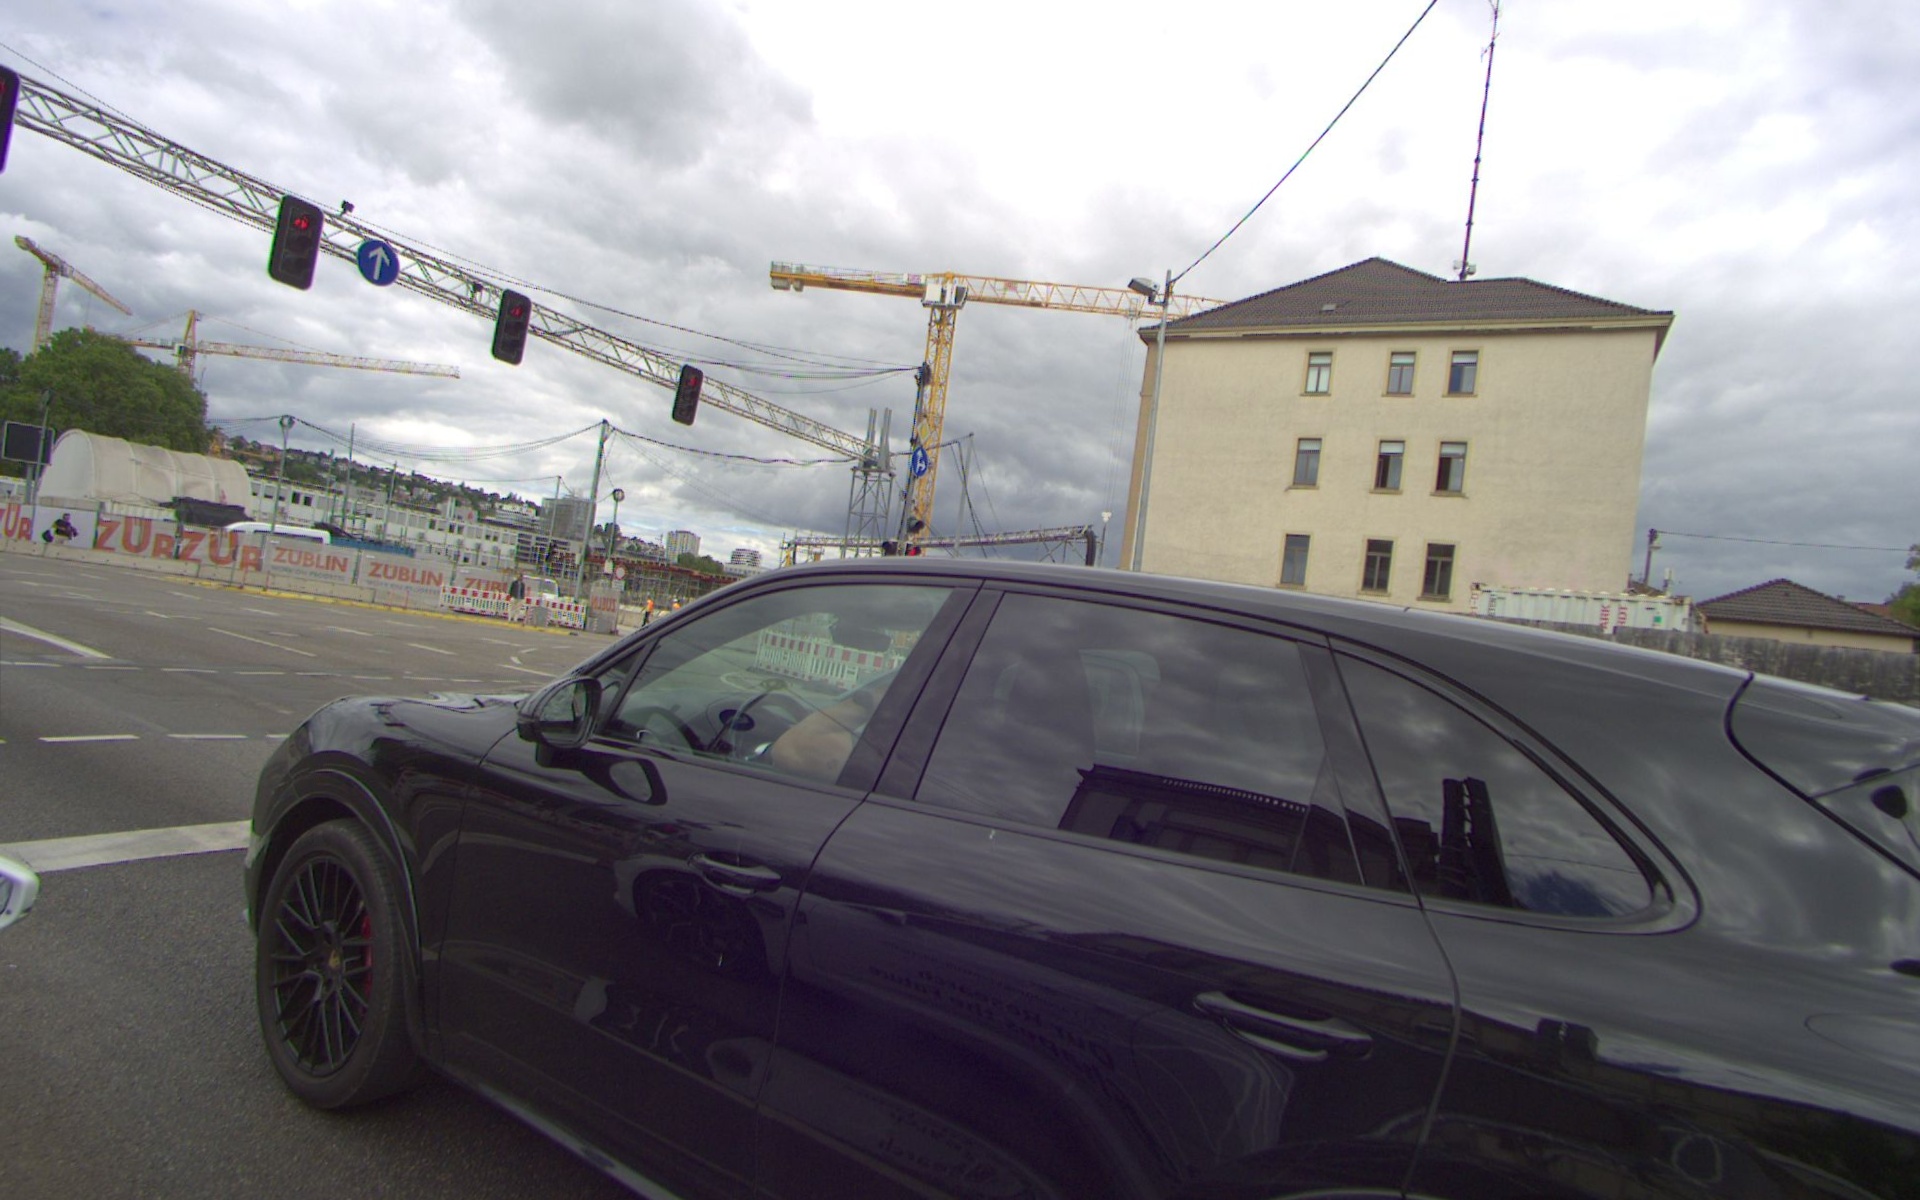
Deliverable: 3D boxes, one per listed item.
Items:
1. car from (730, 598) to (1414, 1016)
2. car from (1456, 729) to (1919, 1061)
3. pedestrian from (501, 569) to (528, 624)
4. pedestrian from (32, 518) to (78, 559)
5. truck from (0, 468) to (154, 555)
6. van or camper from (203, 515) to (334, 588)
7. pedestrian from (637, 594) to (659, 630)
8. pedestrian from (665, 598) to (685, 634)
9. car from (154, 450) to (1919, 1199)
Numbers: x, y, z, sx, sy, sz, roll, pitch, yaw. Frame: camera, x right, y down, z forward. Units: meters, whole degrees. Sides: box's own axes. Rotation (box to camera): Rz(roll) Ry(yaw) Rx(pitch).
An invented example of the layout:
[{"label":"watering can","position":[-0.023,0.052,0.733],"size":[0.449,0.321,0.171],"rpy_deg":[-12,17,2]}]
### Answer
[{"label":"car","position":[0.599,1.044,6.376],"size":[3.818,1.561,1.667],"rpy_deg":[7,-2,33]},{"label":"car","position":[5.646,1.932,6.665],"size":[3.936,1.496,1.662],"rpy_deg":[6,-2,34]},{"label":"pedestrian","position":[-17.273,-0.120,39.023],"size":[0.647,2.037,0.513],"rpy_deg":[8,-1,-33]},{"label":"pedestrian","position":[-34.442,-2.335,38.305],"size":[0.887,1.393,0.800],"rpy_deg":[8,-1,14]},{"label":"truck","position":[-57.899,-5.789,61.928],"size":[3.875,4.086,13.089],"rpy_deg":[8,-2,12]},{"label":"van or camper","position":[-29.808,-2.070,43.412],"size":[4.204,2.384,1.976],"rpy_deg":[10,-3,-44]},{"label":"pedestrian","position":[-16.574,0.647,53.489],"size":[0.607,1.816,0.654],"rpy_deg":[7,-1,23]},{"label":"pedestrian","position":[-14.637,0.813,51.683],"size":[0.508,1.737,0.654],"rpy_deg":[7,-1,21]},{"label":"car","position":[0.043,0.716,2.700],"size":[4.559,1.705,1.959],"rpy_deg":[7,-2,33]}]
